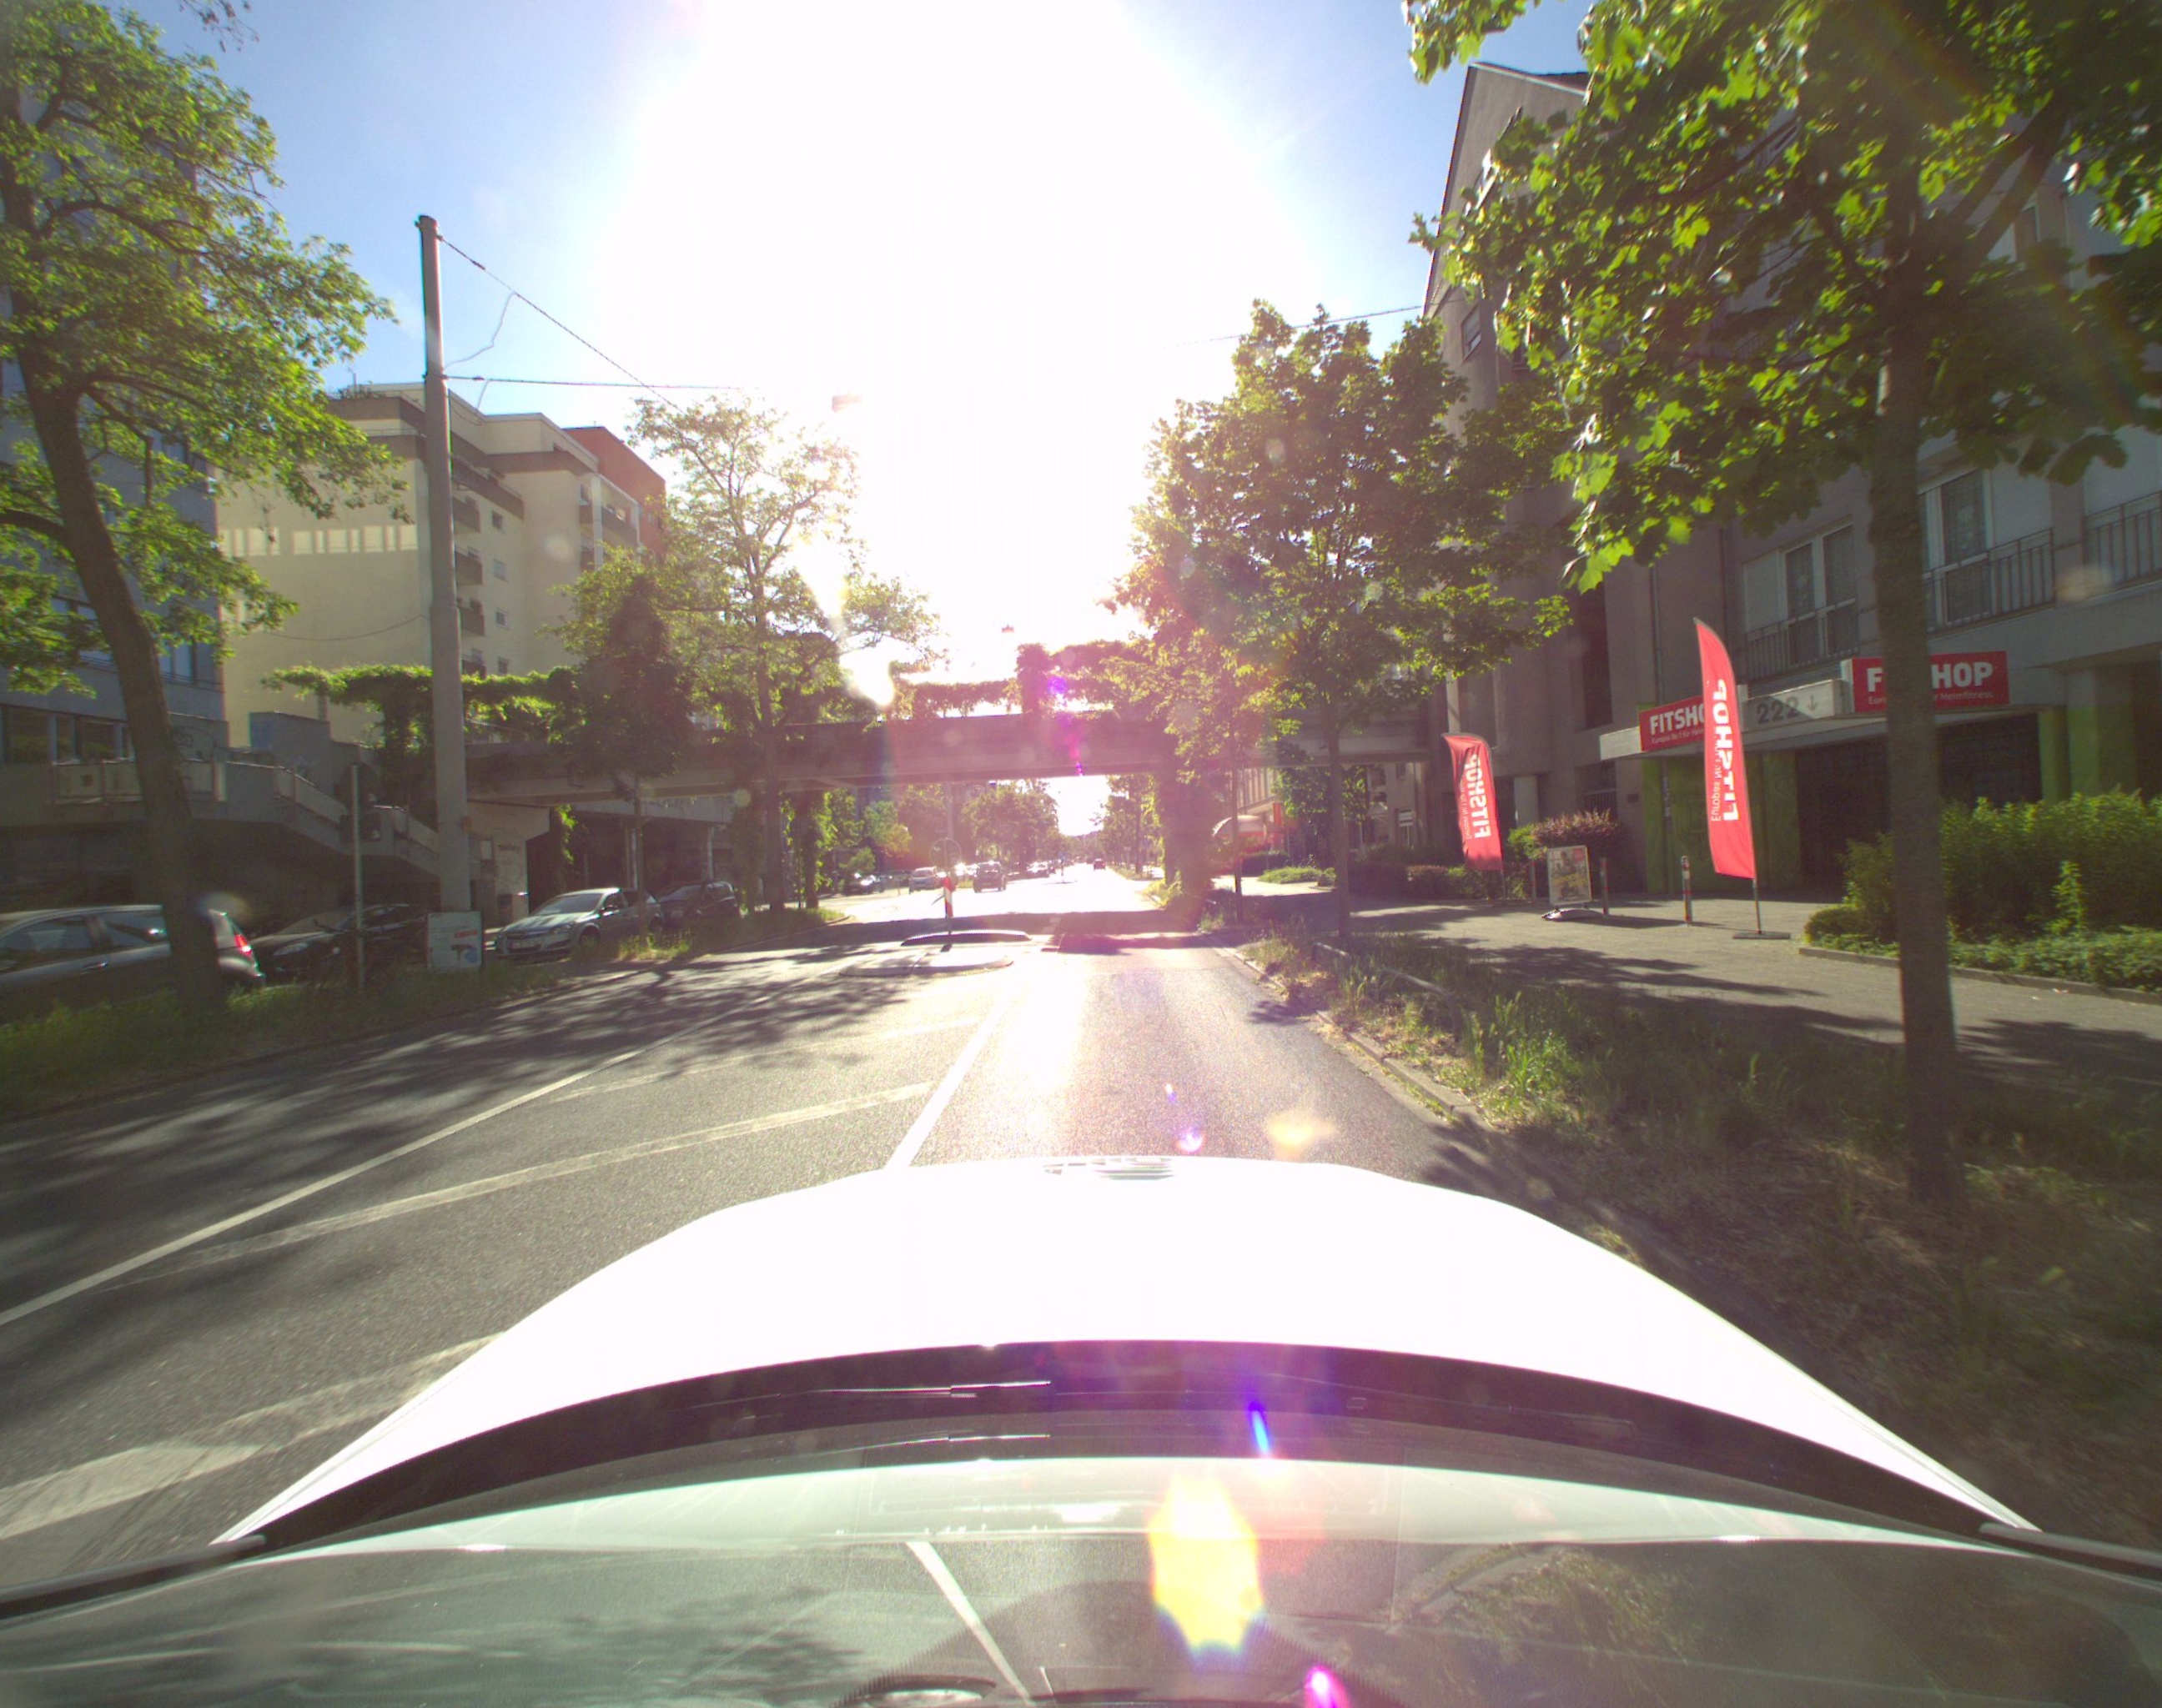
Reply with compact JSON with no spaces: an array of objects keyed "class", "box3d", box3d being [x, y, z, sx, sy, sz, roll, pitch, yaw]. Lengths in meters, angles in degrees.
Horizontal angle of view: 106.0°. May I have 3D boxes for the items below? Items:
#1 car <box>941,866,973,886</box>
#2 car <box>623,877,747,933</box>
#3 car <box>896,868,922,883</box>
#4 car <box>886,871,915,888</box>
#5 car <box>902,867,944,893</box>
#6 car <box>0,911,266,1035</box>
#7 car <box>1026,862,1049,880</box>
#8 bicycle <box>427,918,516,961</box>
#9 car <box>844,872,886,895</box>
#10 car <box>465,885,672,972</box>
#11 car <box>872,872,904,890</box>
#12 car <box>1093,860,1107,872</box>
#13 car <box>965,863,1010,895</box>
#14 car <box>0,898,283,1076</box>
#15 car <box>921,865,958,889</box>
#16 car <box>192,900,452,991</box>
[{"class":"car","box3d":[-10.061,1.779,66.363,1.850,1.523,4.318,-2,0,0]},{"class":"car","box3d":[-10.789,1.340,22.446,1.627,1.307,3.581,-2,0,0]},{"class":"car","box3d":[-18.262,2.251,86.703,1.850,1.523,4.318,-2,0,0]},{"class":"car","box3d":[-17.989,2.557,81.409,1.850,1.523,4.318,-2,0,0]},{"class":"car","box3d":[-10.035,1.634,51.990,1.850,1.523,4.076,-2,0,0]},{"class":"car","box3d":[-16.307,1.869,13.154,1.850,1.523,4.318,-3,0,0]},{"class":"car","box3d":[-4.068,1.552,76.312,1.850,1.523,4.318,-2,0,0]},{"class":"bicycle","box3d":[-18.387,2.544,24.668,0.710,1.021,2.607,-2,0,0]},{"class":"car","box3d":[-15.848,2.143,59.903,1.850,1.523,4.318,-2,0,0]},{"class":"car","box3d":[-11.163,1.550,18.192,1.850,1.523,4.318,-2,0,0]},{"class":"car","box3d":[-18.023,2.519,76.161,1.850,1.523,4.318,-2,0,0]},{"class":"car","box3d":[2.666,1.600,112.238,1.848,1.523,4.321,-2,0,2]},{"class":"car","box3d":[-4.962,1.314,43.854,1.850,1.523,4.318,-2,0,0]},{"class":"car","box3d":[-11.252,1.369,8.541,1.849,1.568,3.872,-2,0,1]},{"class":"car","box3d":[-10.117,1.624,58.420,1.850,1.523,4.318,-2,0,0]},{"class":"car","box3d":[-17.081,1.973,18.702,1.850,1.523,4.318,-3,0,0]}]
